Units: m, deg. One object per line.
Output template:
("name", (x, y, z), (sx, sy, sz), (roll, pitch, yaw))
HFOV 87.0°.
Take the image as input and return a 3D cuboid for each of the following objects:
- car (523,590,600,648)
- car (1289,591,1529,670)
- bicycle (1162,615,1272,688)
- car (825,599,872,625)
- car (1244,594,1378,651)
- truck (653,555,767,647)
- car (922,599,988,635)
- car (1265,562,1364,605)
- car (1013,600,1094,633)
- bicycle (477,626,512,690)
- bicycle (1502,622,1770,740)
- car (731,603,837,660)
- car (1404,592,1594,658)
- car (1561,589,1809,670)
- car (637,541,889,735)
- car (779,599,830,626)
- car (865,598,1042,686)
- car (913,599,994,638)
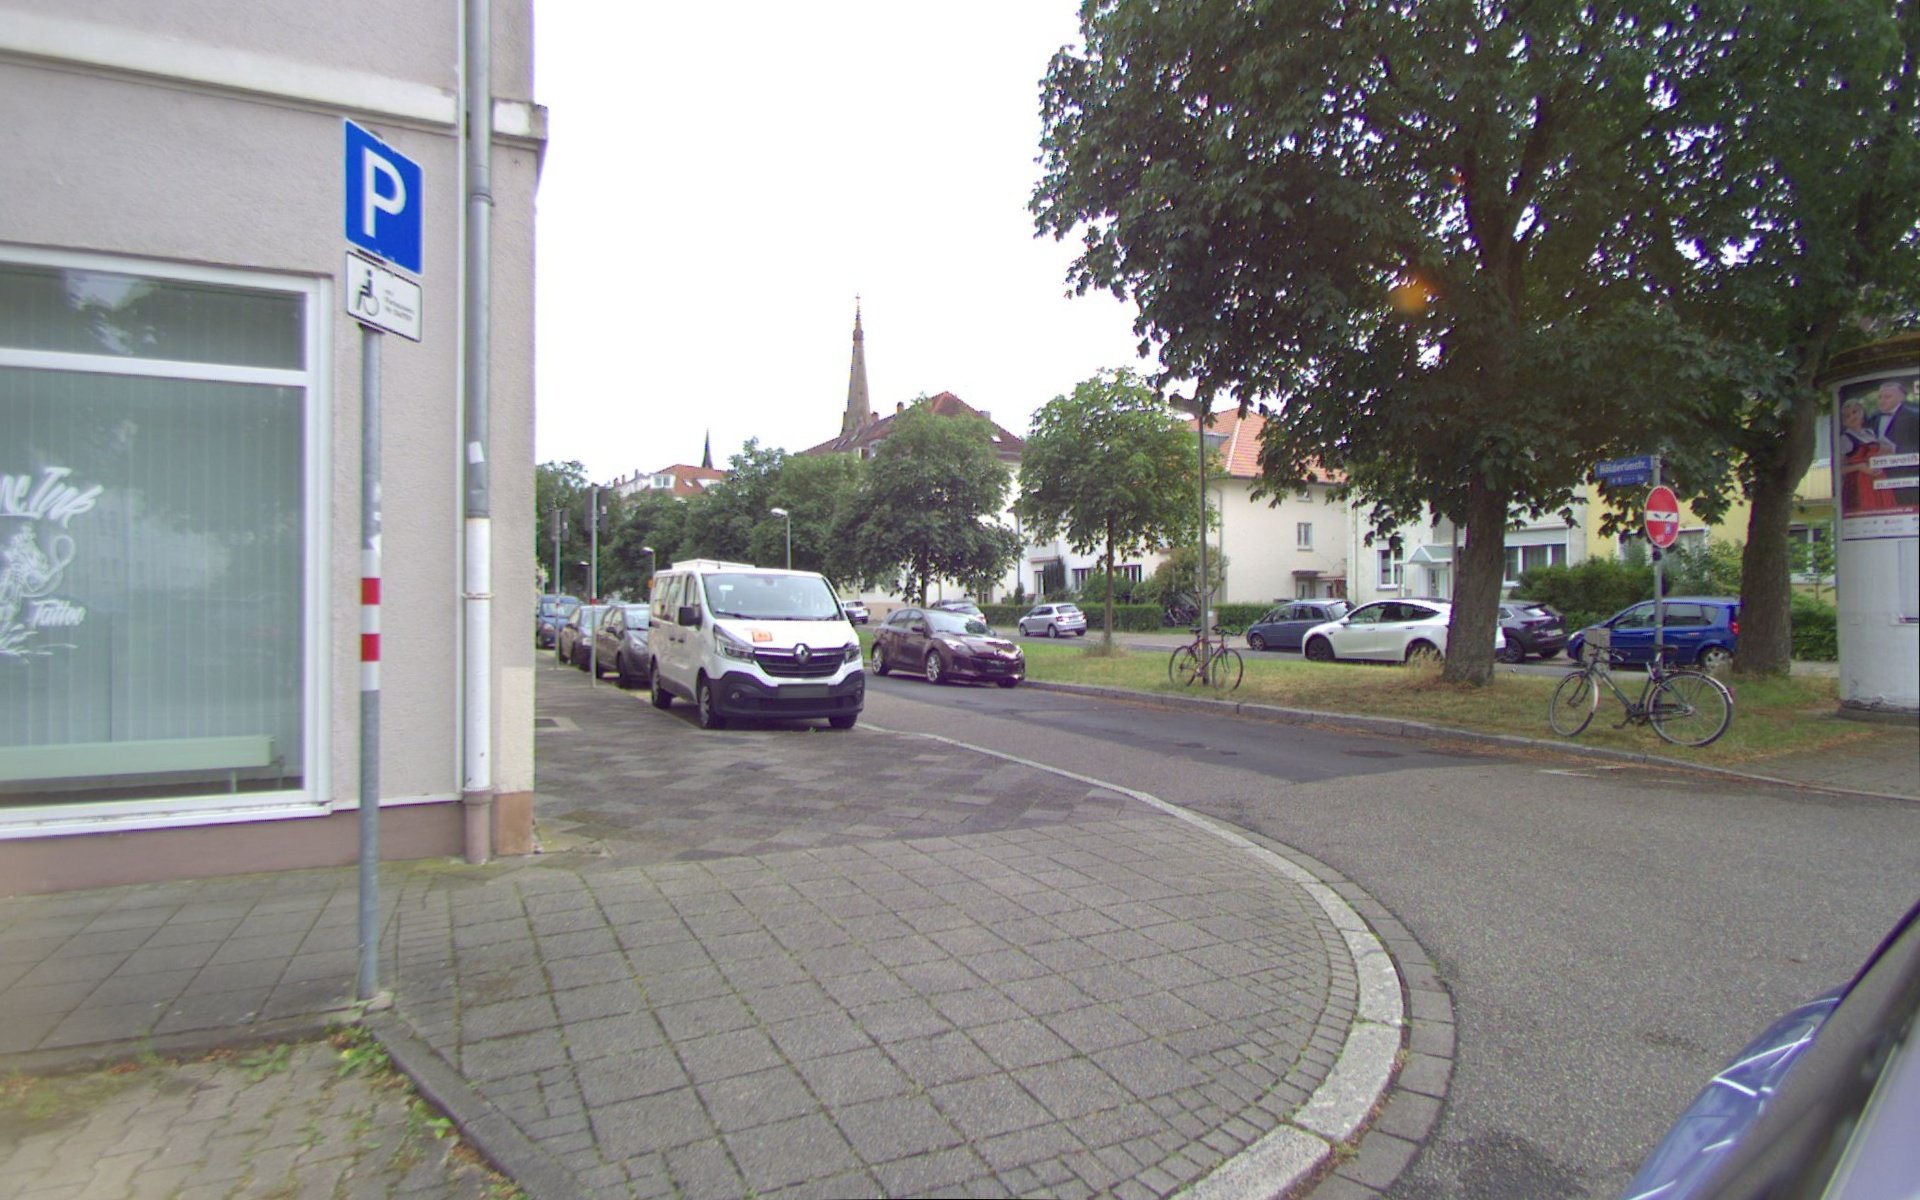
("car", (-13.435, 0.641, 33.986), (1.904, 1.808, 4.191), (2, -1, -28))
("car", (10.029, 0.615, 23.072), (1.864, 1.586, 4.890), (0, 0, -28))
("bicycle", (4.105, 0.788, 16.298), (0.654, 1.080, 1.888), (0, 0, -26))
("car", (-7.577, 0.780, 68.258), (1.769, 1.627, 4.011), (-2, 1, -28))
("car", (11.141, 0.687, 32.363), (1.685, 1.622, 3.889), (-3, 1, -29))
("truck", (-9.593, 0.086, 38.256), (2.395, 2.995, 7.120), (5, -3, -27))
("car", (-0.304, 0.879, 54.524), (1.770, 1.694, 4.106), (-5, 2, -28))
("car", (16.014, -0.736, 45.700), (3.919, 1.749, 2.003), (-3, 1, -27))
("car", (4.131, 0.713, 45.295), (1.769, 1.372, 3.946), (-2, 1, -28))
("bicycle", (-7.373, 0.880, 16.001), (0.440, 0.904, 2.174), (1, -1, -26))
("bicycle", (6.598, 0.738, 10.042), (0.502, 0.998, 2.184), (-3, 1, -30))
("car", (-5.207, 0.886, 29.448), (1.681, 1.477, 4.453), (4, -3, -28))
("car", (14.132, 0.619, 26.798), (1.685, 1.519, 4.172), (-3, 1, -28))
("car", (16.057, 0.599, 22.681), (1.670, 1.586, 4.217), (-2, 1, -24))
("car", (-2.781, 0.428, 13.161), (1.846, 2.021, 5.018), (1, -1, -28))
("car", (-9.169, 0.714, 59.459), (1.769, 1.507, 4.011), (-2, 1, -28))
("car", (-0.245, 0.779, 19.877), (1.681, 1.477, 4.167), (5, -3, -28))
("car", (-0.316, 0.742, 42.867), (1.769, 1.507, 4.011), (-2, 1, -28))
